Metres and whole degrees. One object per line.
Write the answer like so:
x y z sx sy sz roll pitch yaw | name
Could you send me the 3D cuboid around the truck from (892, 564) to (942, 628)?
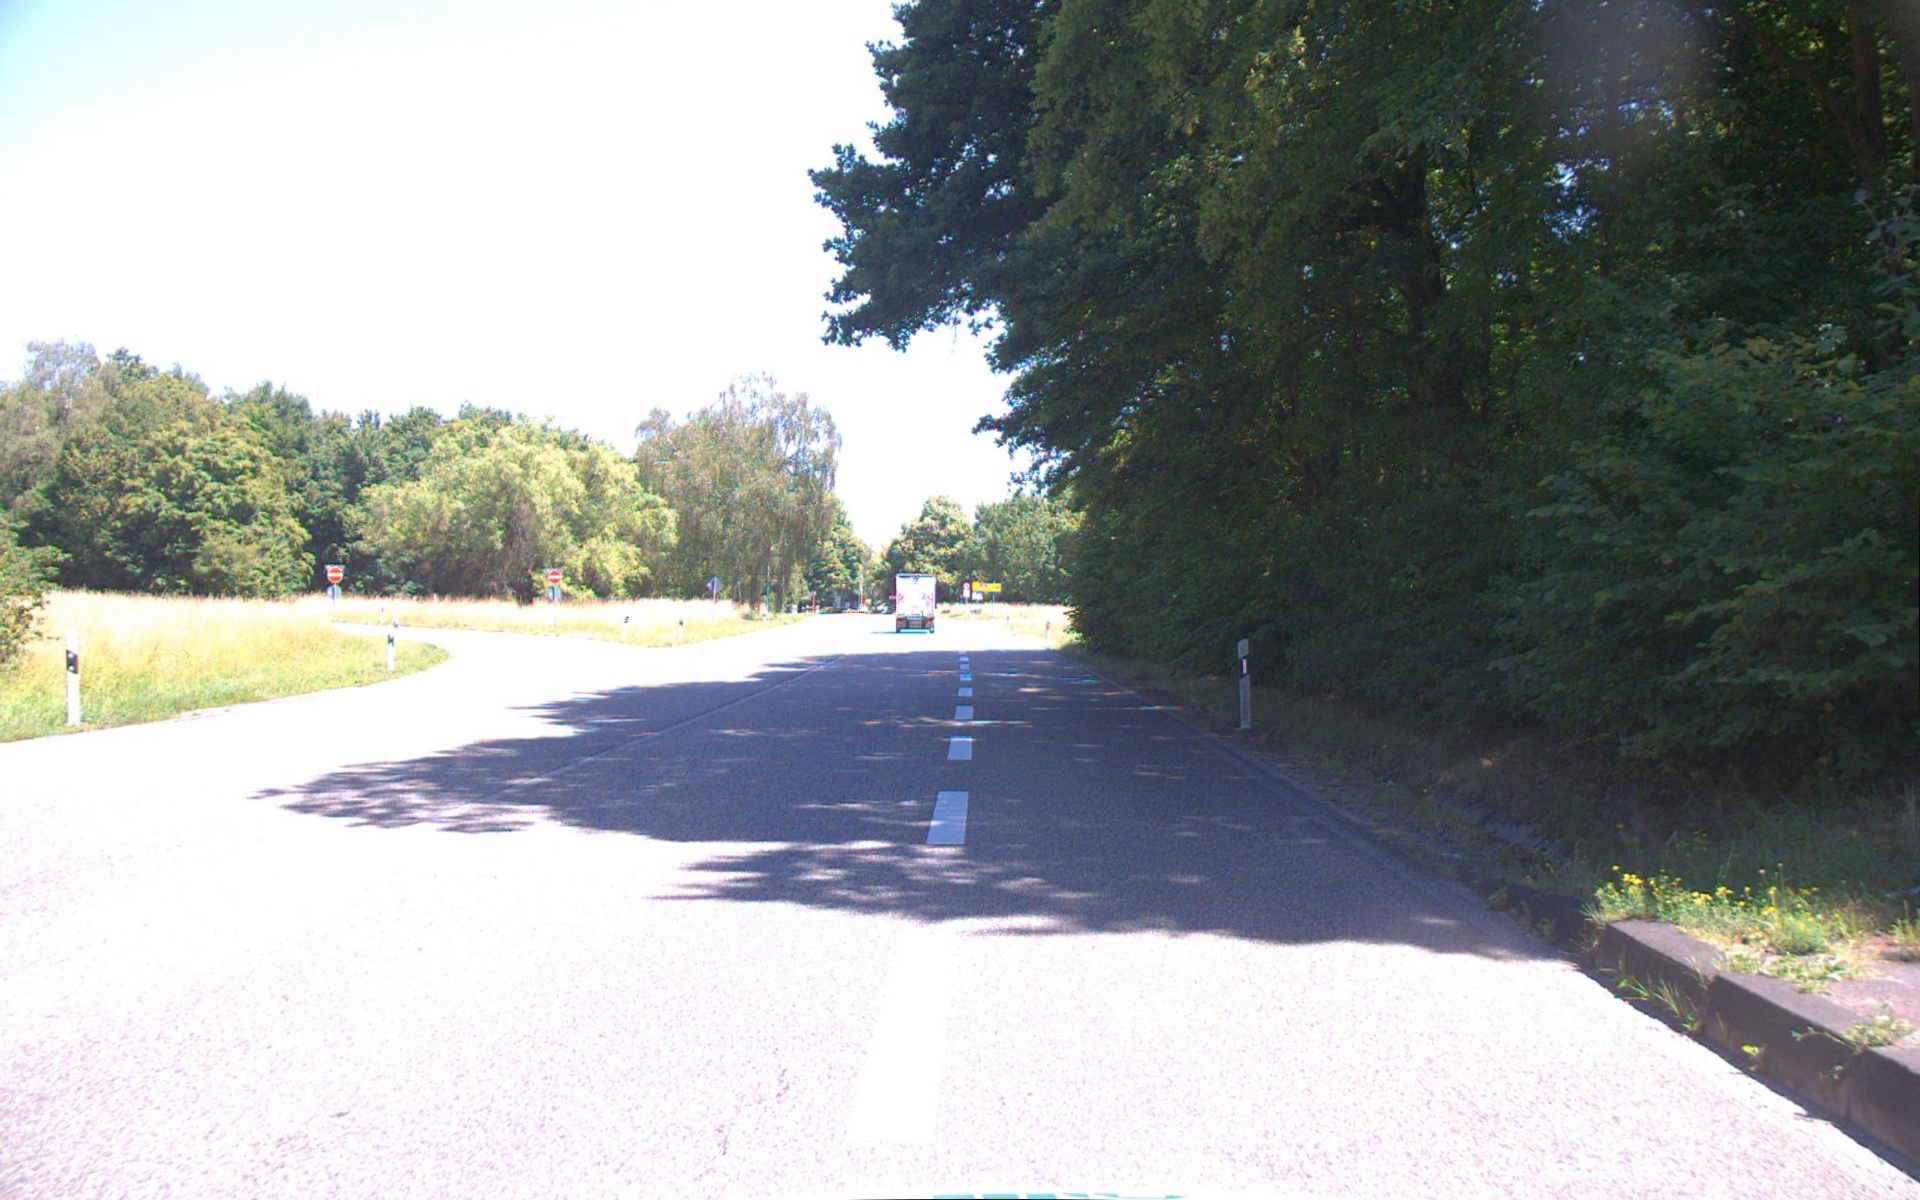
-2.199 -0.219 85.993 2.482 3.190 5.360 0 0 -1 | truck
